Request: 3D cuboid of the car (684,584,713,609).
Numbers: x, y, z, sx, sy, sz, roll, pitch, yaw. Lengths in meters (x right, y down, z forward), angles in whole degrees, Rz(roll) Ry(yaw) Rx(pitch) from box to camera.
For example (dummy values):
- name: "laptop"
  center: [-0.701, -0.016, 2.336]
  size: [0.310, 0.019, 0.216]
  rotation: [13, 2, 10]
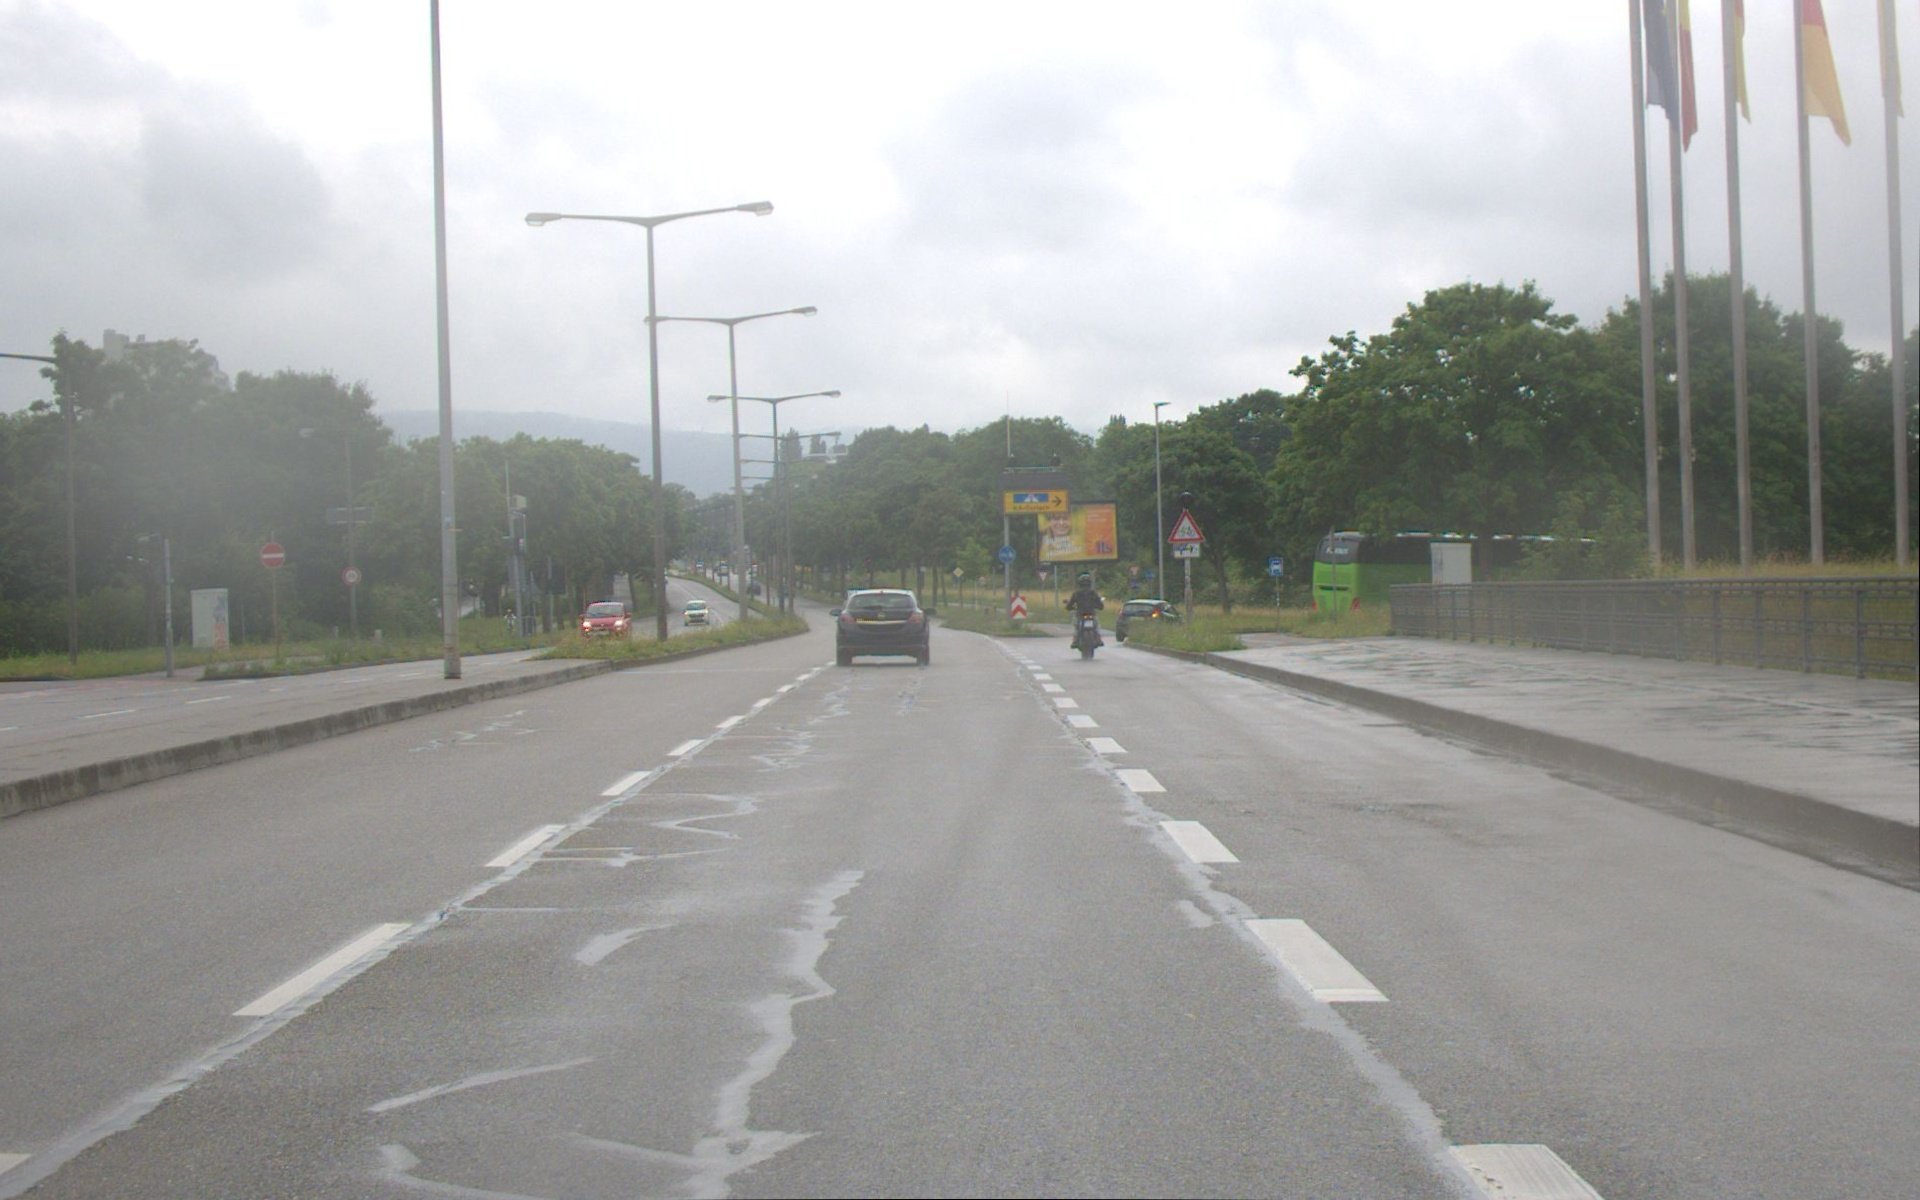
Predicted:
- name: "car"
  center: [-18.155, -0.242, 238.815]
  size: [1.707, 1.624, 4.492]
  rotation: [-3, 0, -2]

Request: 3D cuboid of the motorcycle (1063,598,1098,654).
- name: "motorcycle"
  center: [2.458, 0.525, 70.294]
  size: [0.601, 1.089, 1.732]
  rotation: [0, 1, -2]

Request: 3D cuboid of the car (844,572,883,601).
- name: "car"
  center: [-7.204, -1.006, 255.426]
  size: [2.515, 2.045, 5.294]
  rotation: [-1, 0, -5]

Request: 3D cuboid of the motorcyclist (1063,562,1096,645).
- name: "motorcyclist"
  center: [2.444, 0.070, 70.271]
  size: [0.601, 1.684, 0.860]
  rotation: [0, 1, -2]

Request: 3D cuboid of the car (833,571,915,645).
- name: "car"
  center: [-1.612, 0.127, 64.072]
  size: [1.463, 1.324, 3.758]
  rotation: [0, 1, -2]

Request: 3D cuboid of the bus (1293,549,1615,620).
- name: "bus"
  center: [19.526, -0.596, 134.906]
  size: [14.545, 2.670, 2.763]
  rotation: [0, 0, -35]

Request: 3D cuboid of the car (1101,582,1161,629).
- name: "car"
  center: [5.908, 0.189, 119.271]
  size: [1.854, 1.612, 4.000]
  rotation: [0, 0, 0]

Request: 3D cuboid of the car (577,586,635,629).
- name: "car"
  center: [-12.725, 0.272, 123.709]
  size: [1.660, 1.443, 3.557]
  rotation: [-3, 0, -1]
